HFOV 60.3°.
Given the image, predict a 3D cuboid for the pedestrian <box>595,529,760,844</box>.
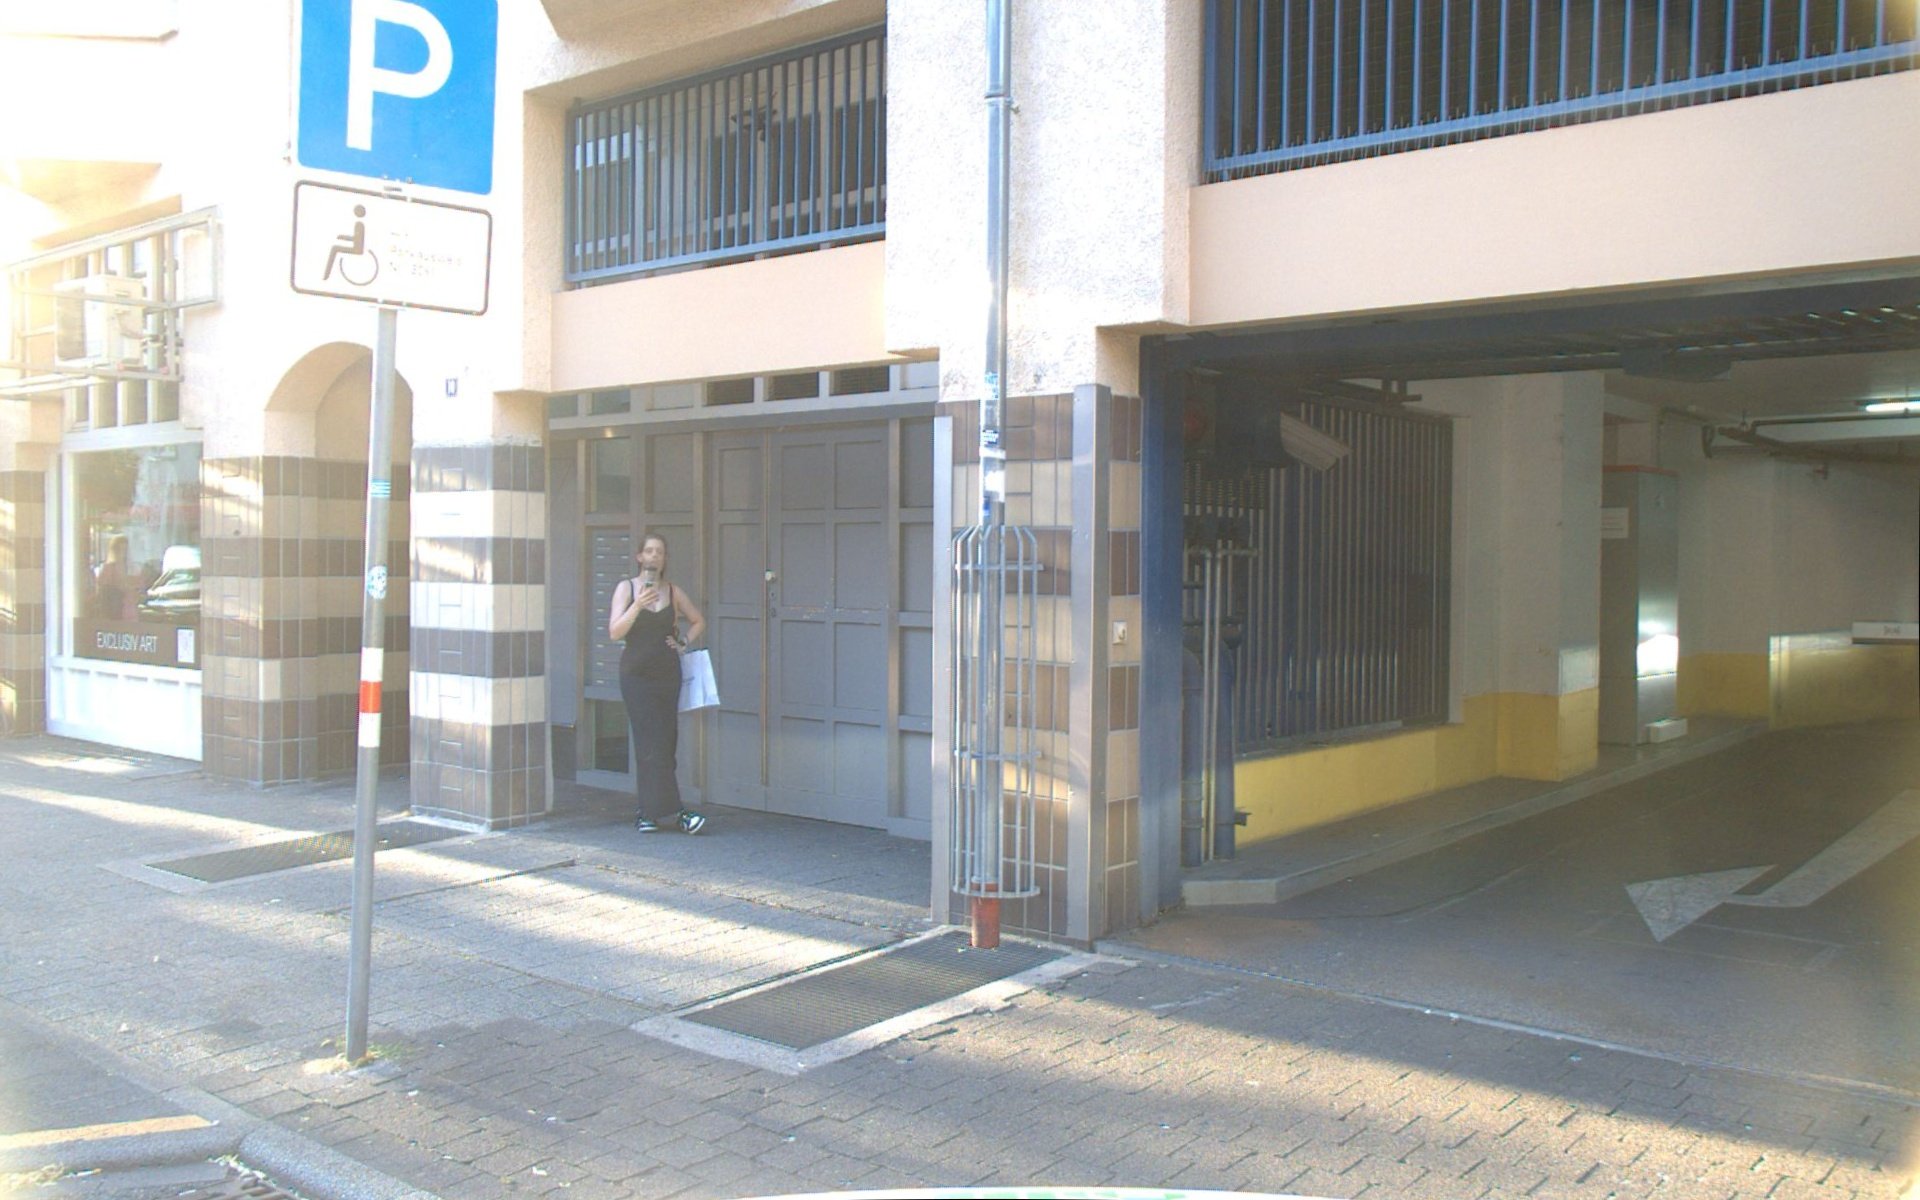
[{"bbox_3d":[-1.506,0.432,8.777,0.765,1.599,0.530,0,1,-23],"label":"pedestrian"}]
